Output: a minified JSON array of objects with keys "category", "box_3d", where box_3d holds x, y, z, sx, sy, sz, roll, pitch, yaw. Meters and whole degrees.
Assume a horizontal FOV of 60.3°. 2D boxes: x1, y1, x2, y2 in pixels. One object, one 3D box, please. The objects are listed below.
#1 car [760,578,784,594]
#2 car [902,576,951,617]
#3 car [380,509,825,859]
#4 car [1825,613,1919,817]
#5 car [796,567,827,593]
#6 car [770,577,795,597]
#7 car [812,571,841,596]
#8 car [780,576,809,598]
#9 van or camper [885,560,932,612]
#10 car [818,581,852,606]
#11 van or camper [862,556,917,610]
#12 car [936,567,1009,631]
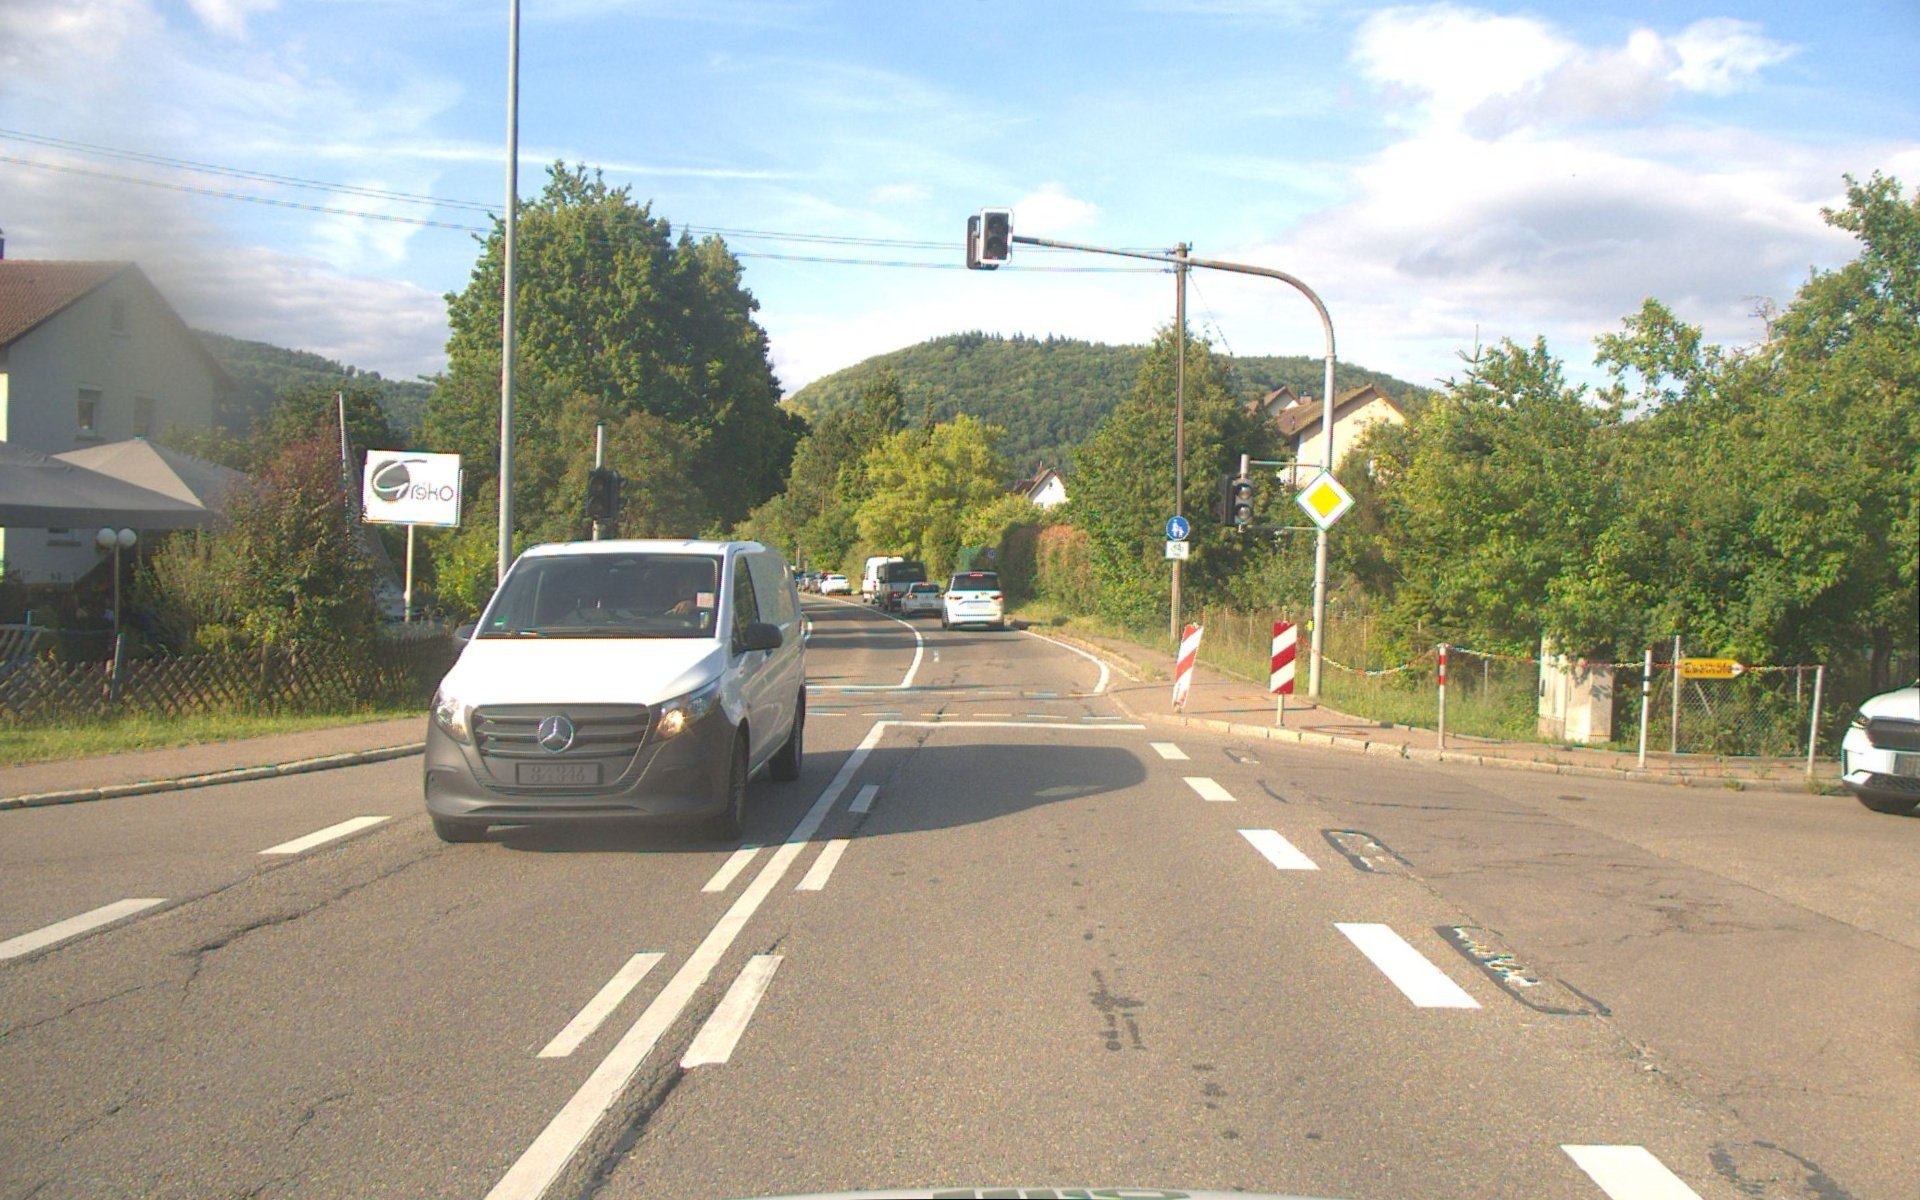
[{"category":"car","box_3d":[-17.930,-1.342,157.714,1.908,1.449,3.988,0,1,-12]},{"category":"car","box_3d":[-1.481,-0.182,71.270,1.954,1.713,3.998,0,1,-3]},{"category":"car","box_3d":[-2.214,0.424,11.888,1.952,1.937,5.254,-1,1,1]},{"category":"car","box_3d":[9.806,1.043,14.524,4.511,1.638,1.854,3,0,-32]},{"category":"car","box_3d":[-11.871,-1.595,131.646,1.959,2.049,3.988,0,1,-13]},{"category":"car","box_3d":[-15.966,-1.182,148.635,1.908,1.713,3.988,-1,0,-12]},{"category":"car","box_3d":[-10.084,-1.266,124.739,1.764,1.825,3.989,0,1,-11]},{"category":"car","box_3d":[-14.067,-1.088,140.240,2.005,1.713,3.988,1,1,-12]},{"category":"van or camper","box_3d":[-2.511,-0.714,80.013,2.136,2.426,5.366,0,1,-3]},{"category":"car","box_3d":[-8.872,-0.478,117.479,1.788,1.579,3.987,-1,2,-13]},{"category":"van or camper","box_3d":[-4.083,-0.987,94.684,2.371,2.955,6.118,0,1,-9]},{"category":"car","box_3d":[0.377,-0.075,55.623,1.955,1.909,4.866,2,1,-5]}]
